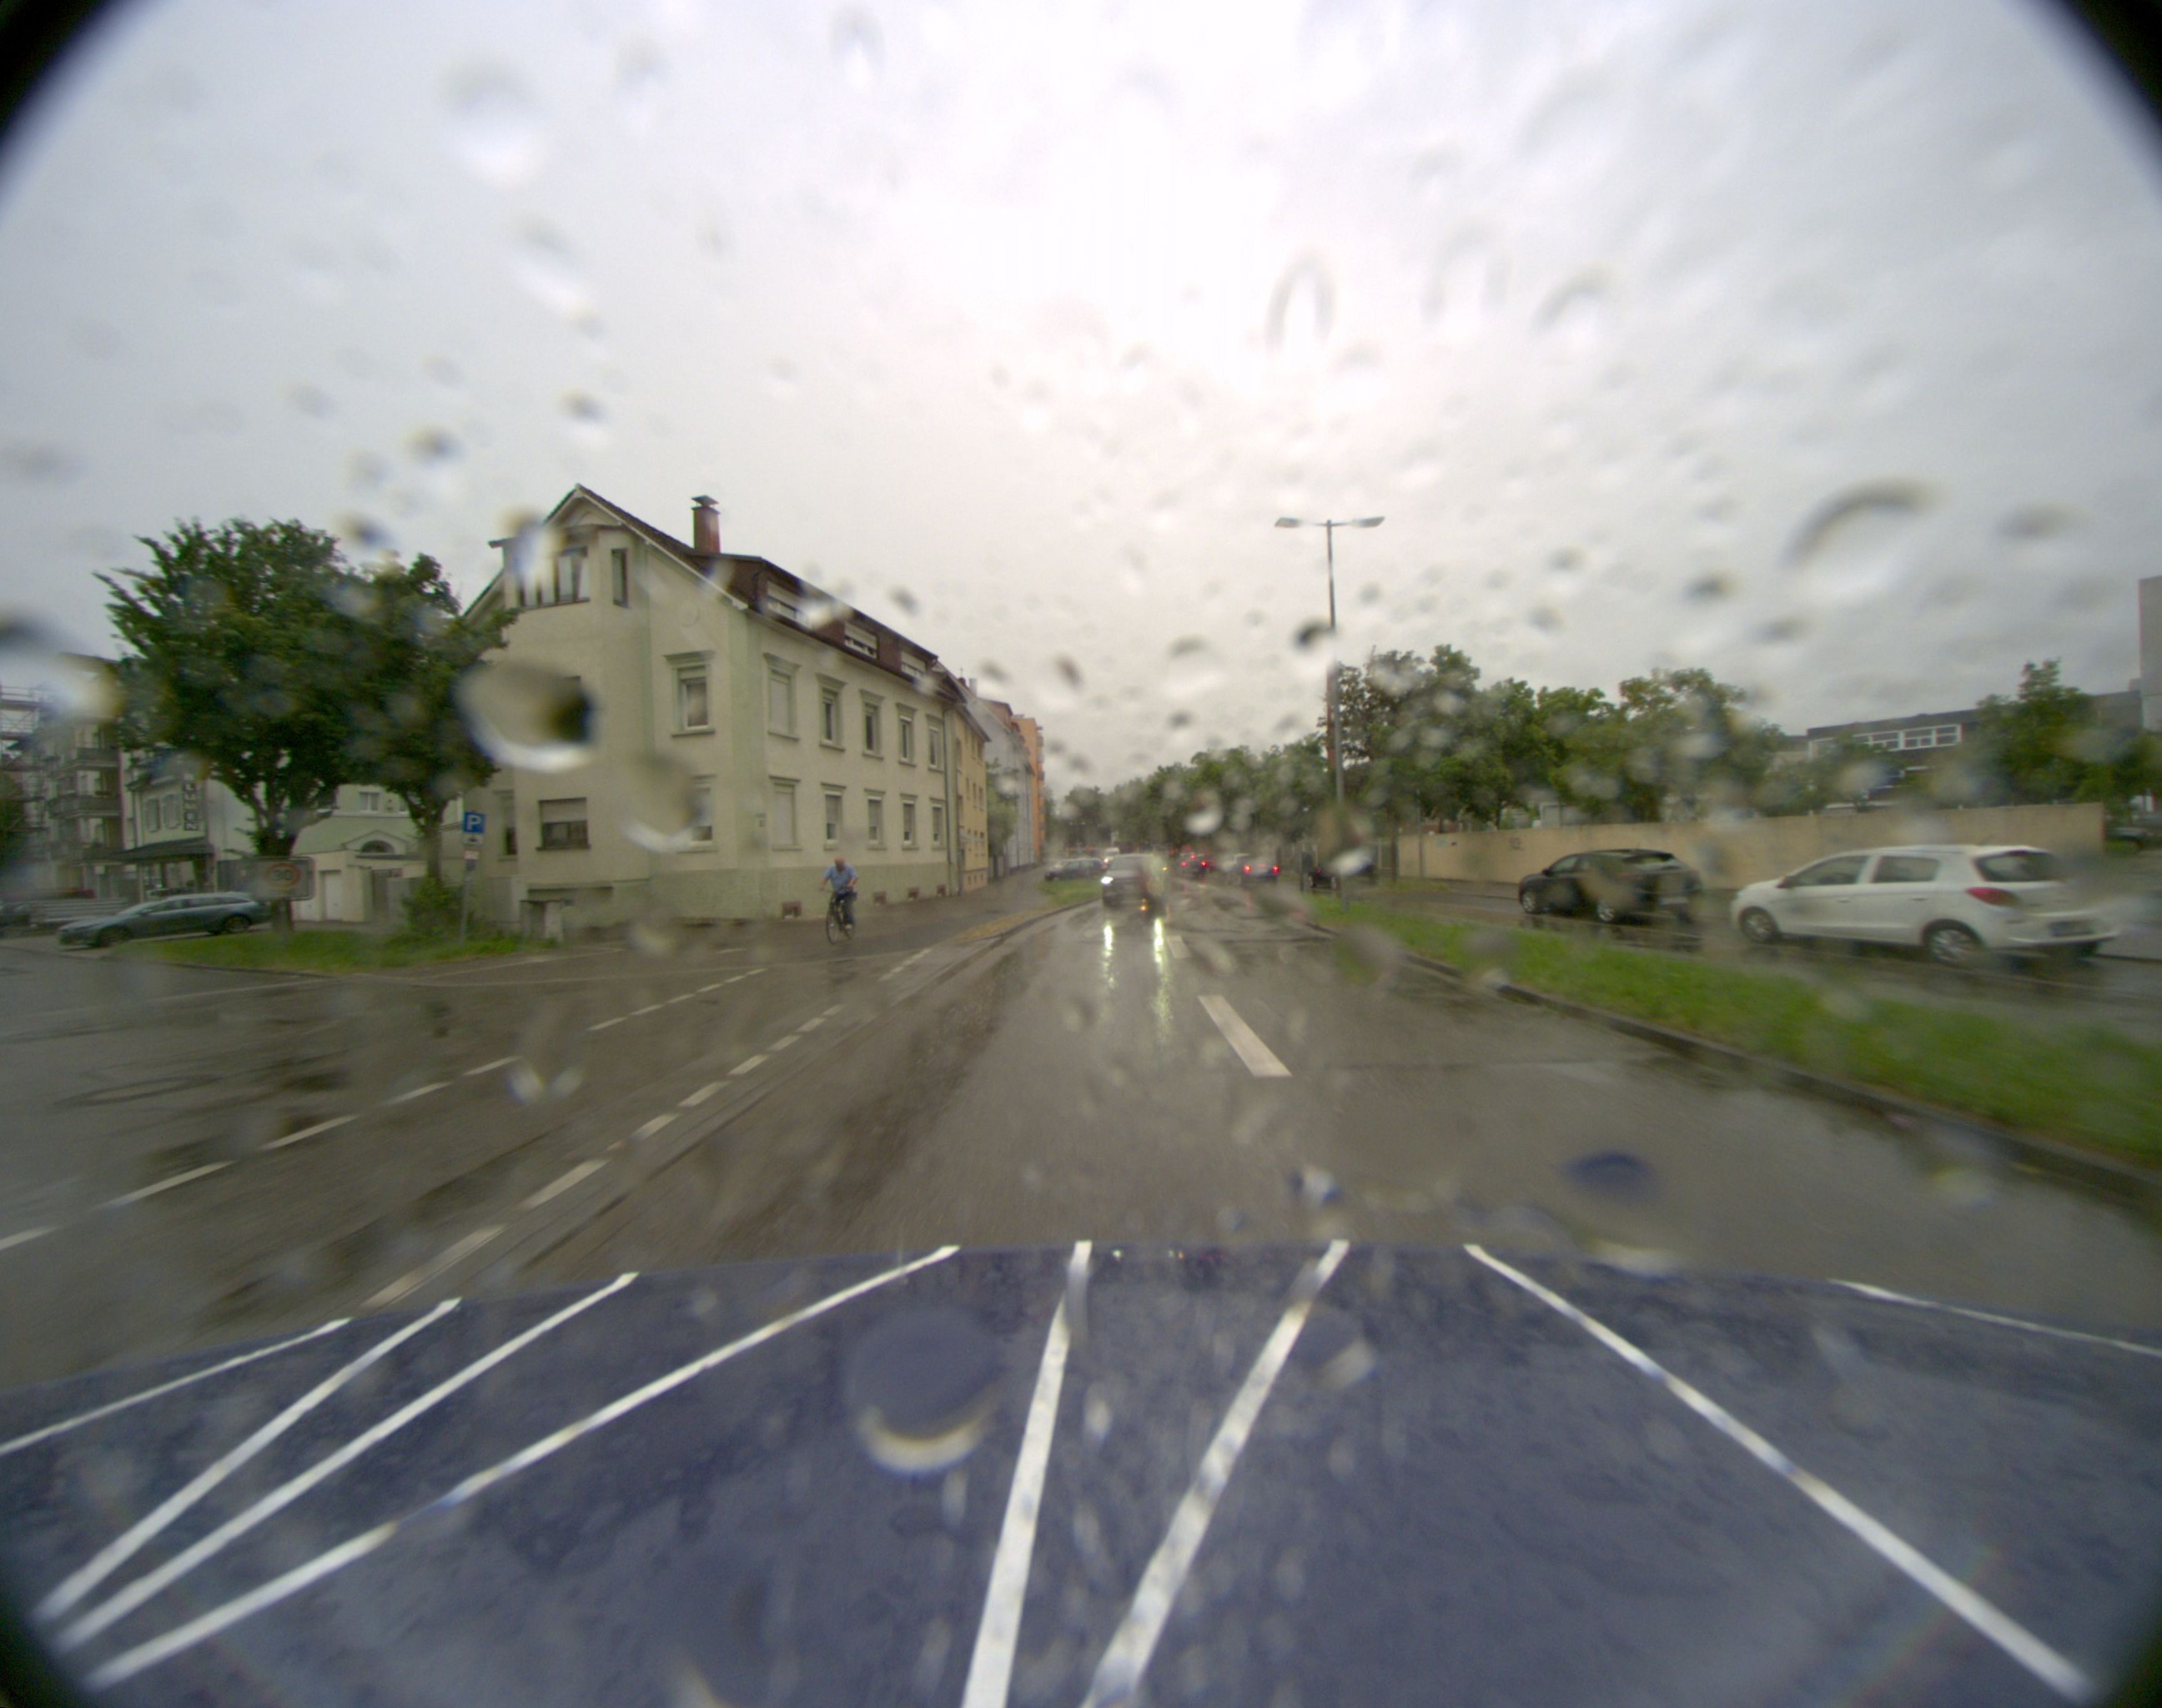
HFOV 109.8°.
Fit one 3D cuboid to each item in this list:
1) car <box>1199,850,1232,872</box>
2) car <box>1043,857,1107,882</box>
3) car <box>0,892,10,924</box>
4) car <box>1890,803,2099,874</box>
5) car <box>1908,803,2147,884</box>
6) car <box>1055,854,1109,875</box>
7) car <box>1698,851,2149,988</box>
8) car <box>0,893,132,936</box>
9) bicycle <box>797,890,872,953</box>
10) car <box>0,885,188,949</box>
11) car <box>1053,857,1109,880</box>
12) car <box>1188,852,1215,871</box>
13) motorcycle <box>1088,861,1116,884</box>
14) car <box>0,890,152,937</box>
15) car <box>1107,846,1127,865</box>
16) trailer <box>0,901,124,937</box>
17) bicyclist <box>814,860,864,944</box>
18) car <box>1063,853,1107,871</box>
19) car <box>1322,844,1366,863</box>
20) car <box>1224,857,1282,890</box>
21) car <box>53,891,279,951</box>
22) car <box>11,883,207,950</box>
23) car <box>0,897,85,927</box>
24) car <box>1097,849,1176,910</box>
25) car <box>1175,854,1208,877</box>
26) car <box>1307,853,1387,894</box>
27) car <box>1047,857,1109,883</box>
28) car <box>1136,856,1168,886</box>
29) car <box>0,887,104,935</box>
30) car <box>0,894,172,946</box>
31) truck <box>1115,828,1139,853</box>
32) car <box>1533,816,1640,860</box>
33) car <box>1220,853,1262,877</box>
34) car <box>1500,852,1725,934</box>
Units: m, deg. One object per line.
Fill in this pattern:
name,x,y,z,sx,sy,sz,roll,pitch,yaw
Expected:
car,10.492,0.534,59.557,1.628,1.589,3.796,-3,1,-3
car,-0.389,1.005,50.450,4.063,1.446,1.934,-3,-1,0
car,-71.798,3.605,48.269,1.995,2.002,4.006,-2,1,27
car,28.042,-0.437,23.433,2.003,1.980,3.990,-3,1,-37
car,26.062,-0.262,21.057,2.003,2.002,3.990,-3,1,-34
car,0.115,0.864,63.164,4.388,1.468,2.050,-3,1,1
car,11.236,0.730,10.664,1.606,1.465,4.121,-3,1,-3
car,-45.493,2.656,33.649,1.995,1.577,4.007,-2,0,28
bicycle,-4.807,1.298,14.986,0.674,1.054,1.972,-3,0,4
car,-37.458,2.314,28.953,1.995,2.002,4.006,-2,1,28
car,0.018,1.031,55.306,3.923,1.472,1.857,-3,1,1
car,10.325,0.646,65.209,1.694,1.445,3.718,-3,1,1
motorcycle,1.244,1.108,45.819,1.593,1.316,0.695,-3,0,-1
car,-43.384,2.506,32.620,1.995,1.565,4.006,-2,1,27
car,4.553,0.174,96.925,2.194,2.242,4.884,-3,1,0
trailer,-47.468,2.982,34.903,1.783,1.273,4.006,-2,1,26
bicyclist,-4.721,0.922,14.835,0.640,1.573,0.716,-3,0,4
car,0.405,0.768,72.886,4.171,1.561,1.650,-3,1,1
car,28.021,-0.084,80.973,2.003,1.871,3.990,-3,1,-32
car,8.066,0.888,36.040,1.731,1.385,3.949,1,1,-2
car,-30.521,2.182,25.549,1.734,1.525,4.472,-2,1,24
car,-35.227,2.204,27.675,1.995,2.002,4.006,-2,1,28
car,-53.051,2.919,37.696,1.995,1.273,4.006,-2,0,24
car,1.884,0.747,24.434,1.959,1.702,4.177,-3,1,11
car,7.784,0.790,53.698,1.710,1.492,3.945,0,1,-1
car,10.701,0.731,30.913,1.700,1.437,4.096,-3,1,-1
car,-0.159,1.025,47.918,3.761,1.446,1.801,-3,-1,0
car,4.282,0.996,46.193,1.831,1.619,4.001,-3,1,4
car,-50.232,2.757,35.990,1.734,2.002,4.470,-2,1,24
car,-40.359,2.606,30.870,1.995,1.652,4.006,-2,1,28
truck,8.429,-2.494,140.808,3.833,4.360,10.784,-3,1,0
car,29.600,-0.905,44.620,2.153,2.383,4.709,-3,1,-30
car,10.789,0.701,51.509,1.779,1.451,4.679,-3,1,-1
car,11.066,0.720,16.262,1.731,1.375,4.178,-4,1,-2
